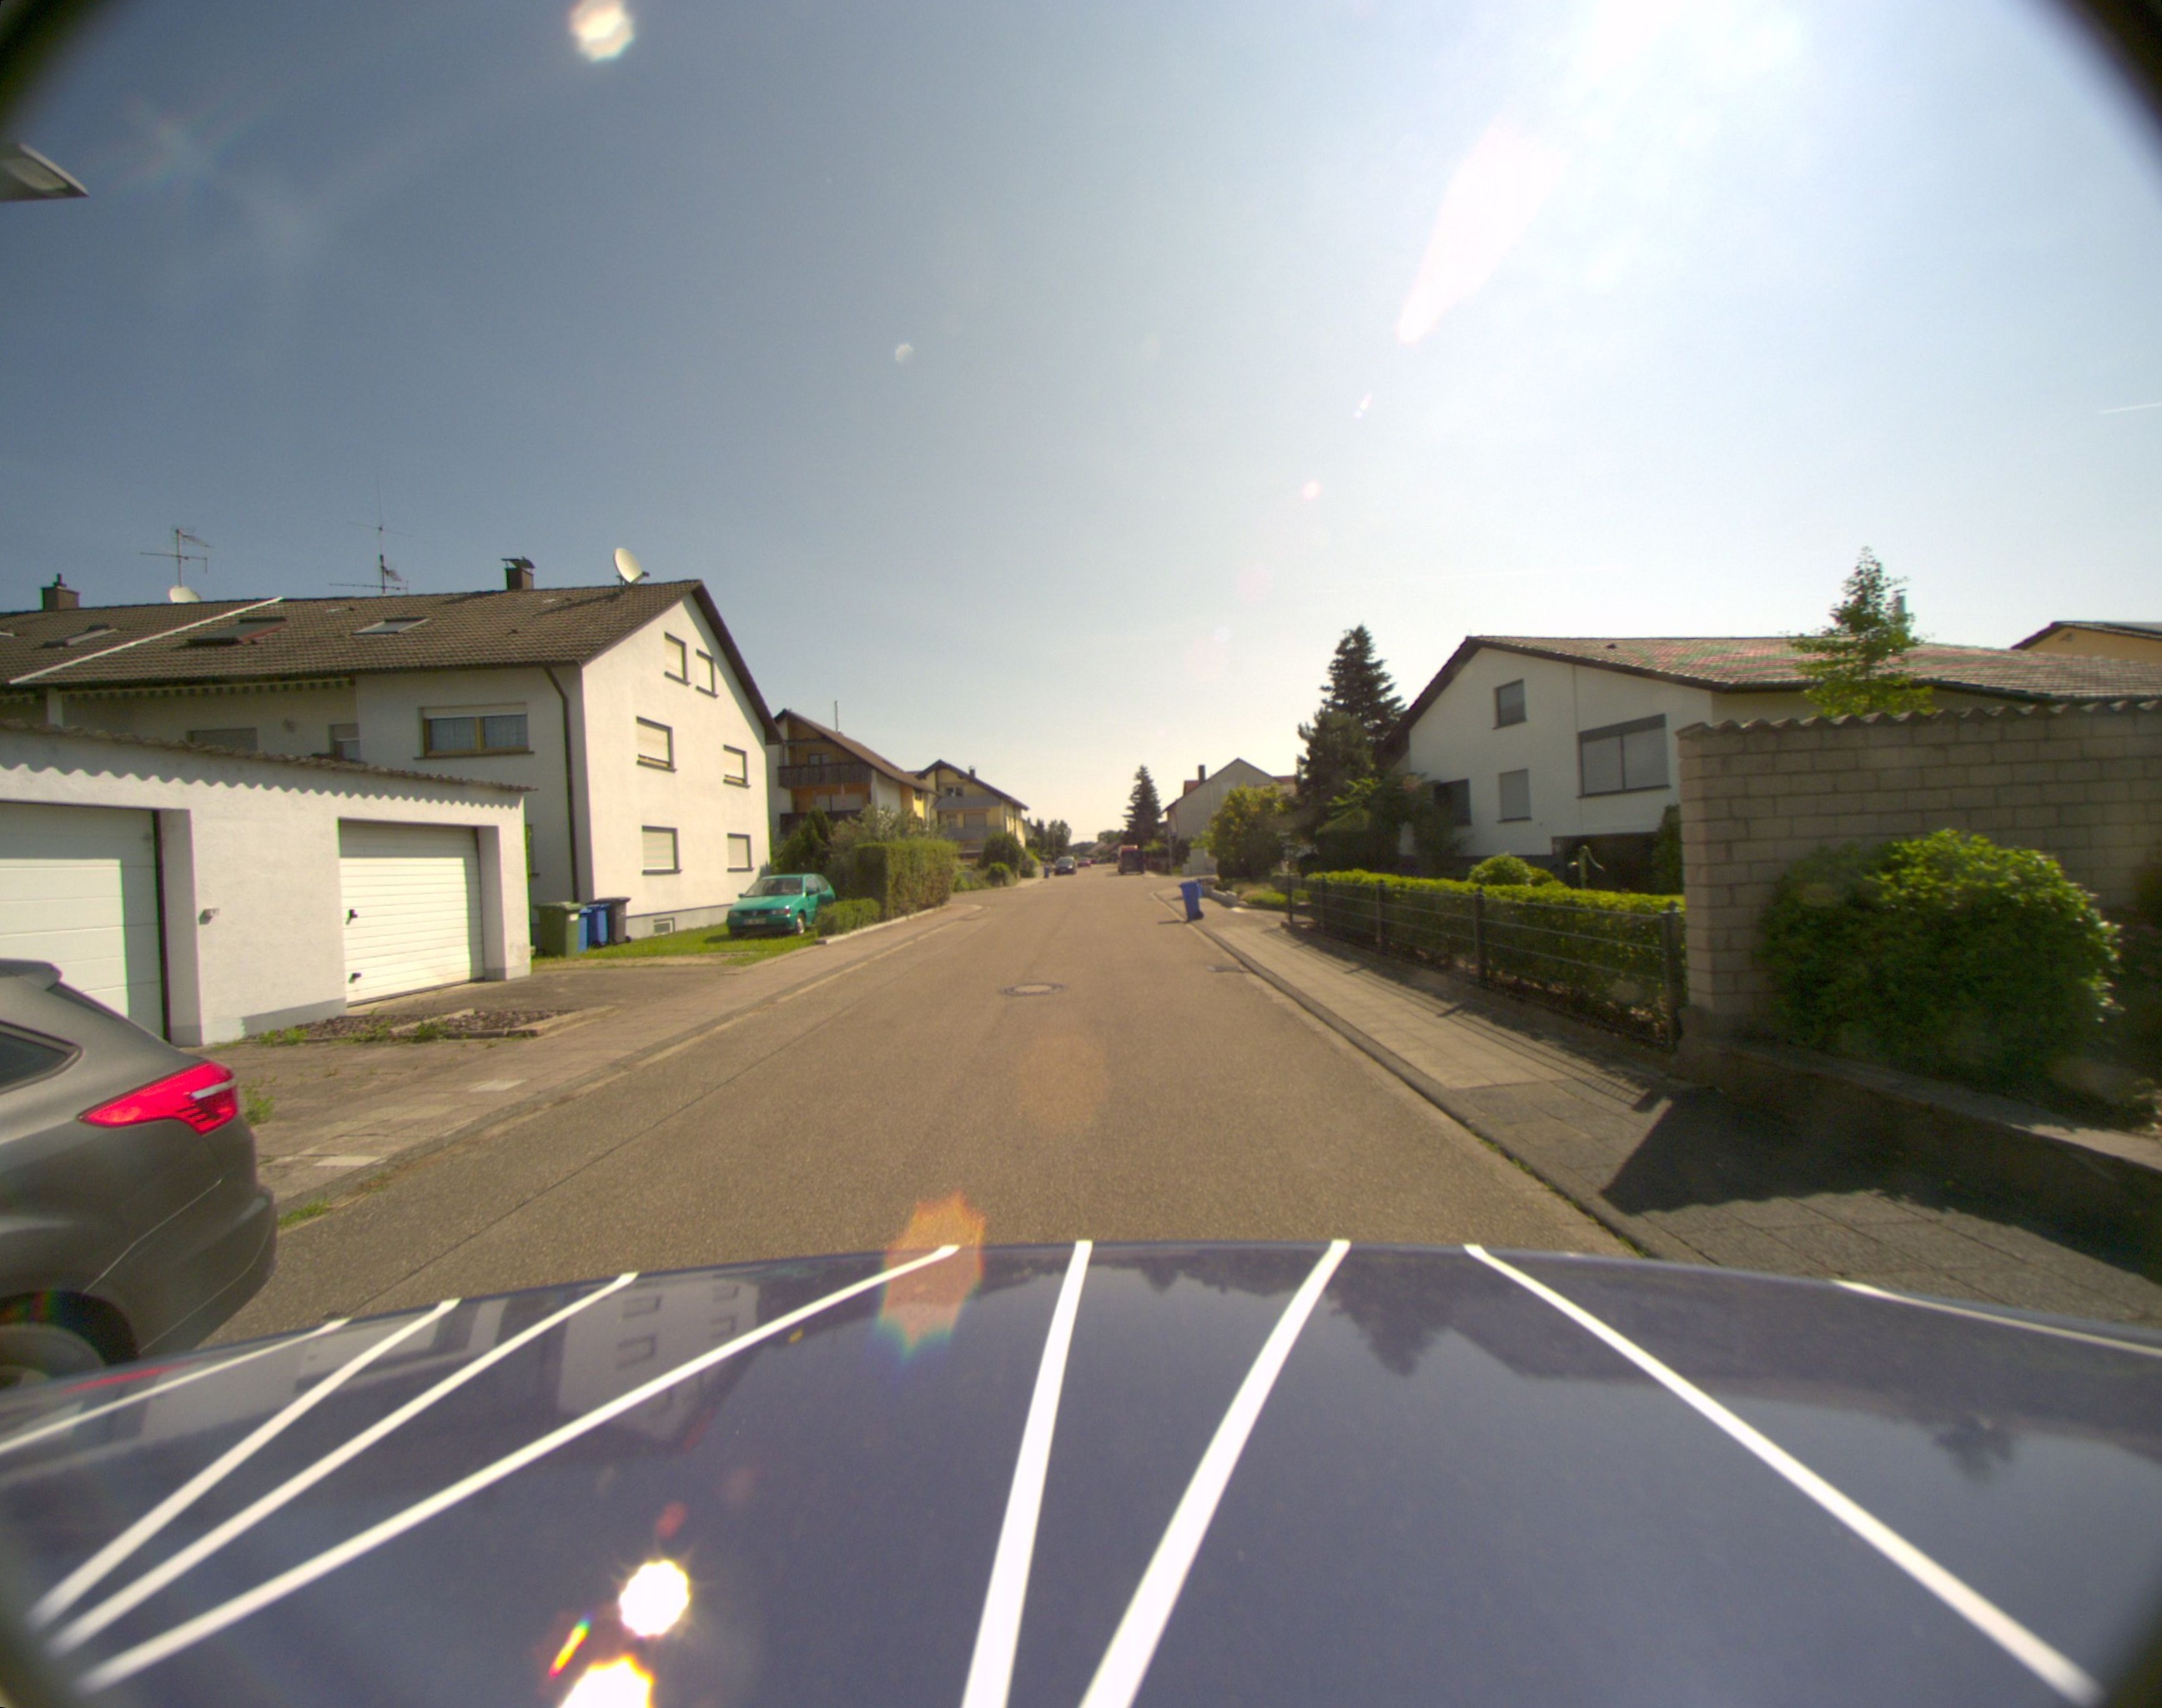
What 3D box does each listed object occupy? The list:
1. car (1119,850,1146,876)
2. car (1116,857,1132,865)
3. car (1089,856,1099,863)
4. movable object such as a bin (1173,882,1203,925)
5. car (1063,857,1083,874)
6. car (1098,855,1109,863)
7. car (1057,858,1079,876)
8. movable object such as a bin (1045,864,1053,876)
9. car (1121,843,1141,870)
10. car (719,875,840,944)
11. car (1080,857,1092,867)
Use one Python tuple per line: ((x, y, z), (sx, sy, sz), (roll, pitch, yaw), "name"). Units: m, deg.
((4.063, 0.722, 60.794), (1.870, 1.927, 4.204), (-3, 0, 1), "car")
((9.790, 1.555, 173.211), (3.413, 1.521, 1.637), (-3, 0, -5), "car")
((3.038, 1.235, 176.244), (1.710, 1.332, 3.999), (-3, -2, -6), "car")
((2.465, 1.135, 17.531), (0.584, 0.911, 0.598), (-3, 0, 1), "movable object such as a bin")
((-0.788, 1.150, 76.276), (1.632, 1.616, 4.001), (-3, -1, 3), "car")
((4.854, 1.090, 164.050), (1.710, 1.332, 3.999), (-3, -2, -6), "car")
((-1.199, 1.193, 70.703), (1.632, 1.616, 4.001), (-3, -1, 3), "car")
((-2.579, 1.274, 61.199), (0.584, 0.911, 0.598), (-3, 0, 1), "movable object such as a bin")
((4.583, 0.210, 70.060), (1.555, 2.310, 4.204), (-3, 0, 1), "car")
((-7.057, 1.239, 18.149), (1.498, 1.351, 3.526), (-2, 0, -1), "car")
((0.727, 1.144, 112.850), (1.517, 1.397, 3.677), (-3, -1, -1), "car")
